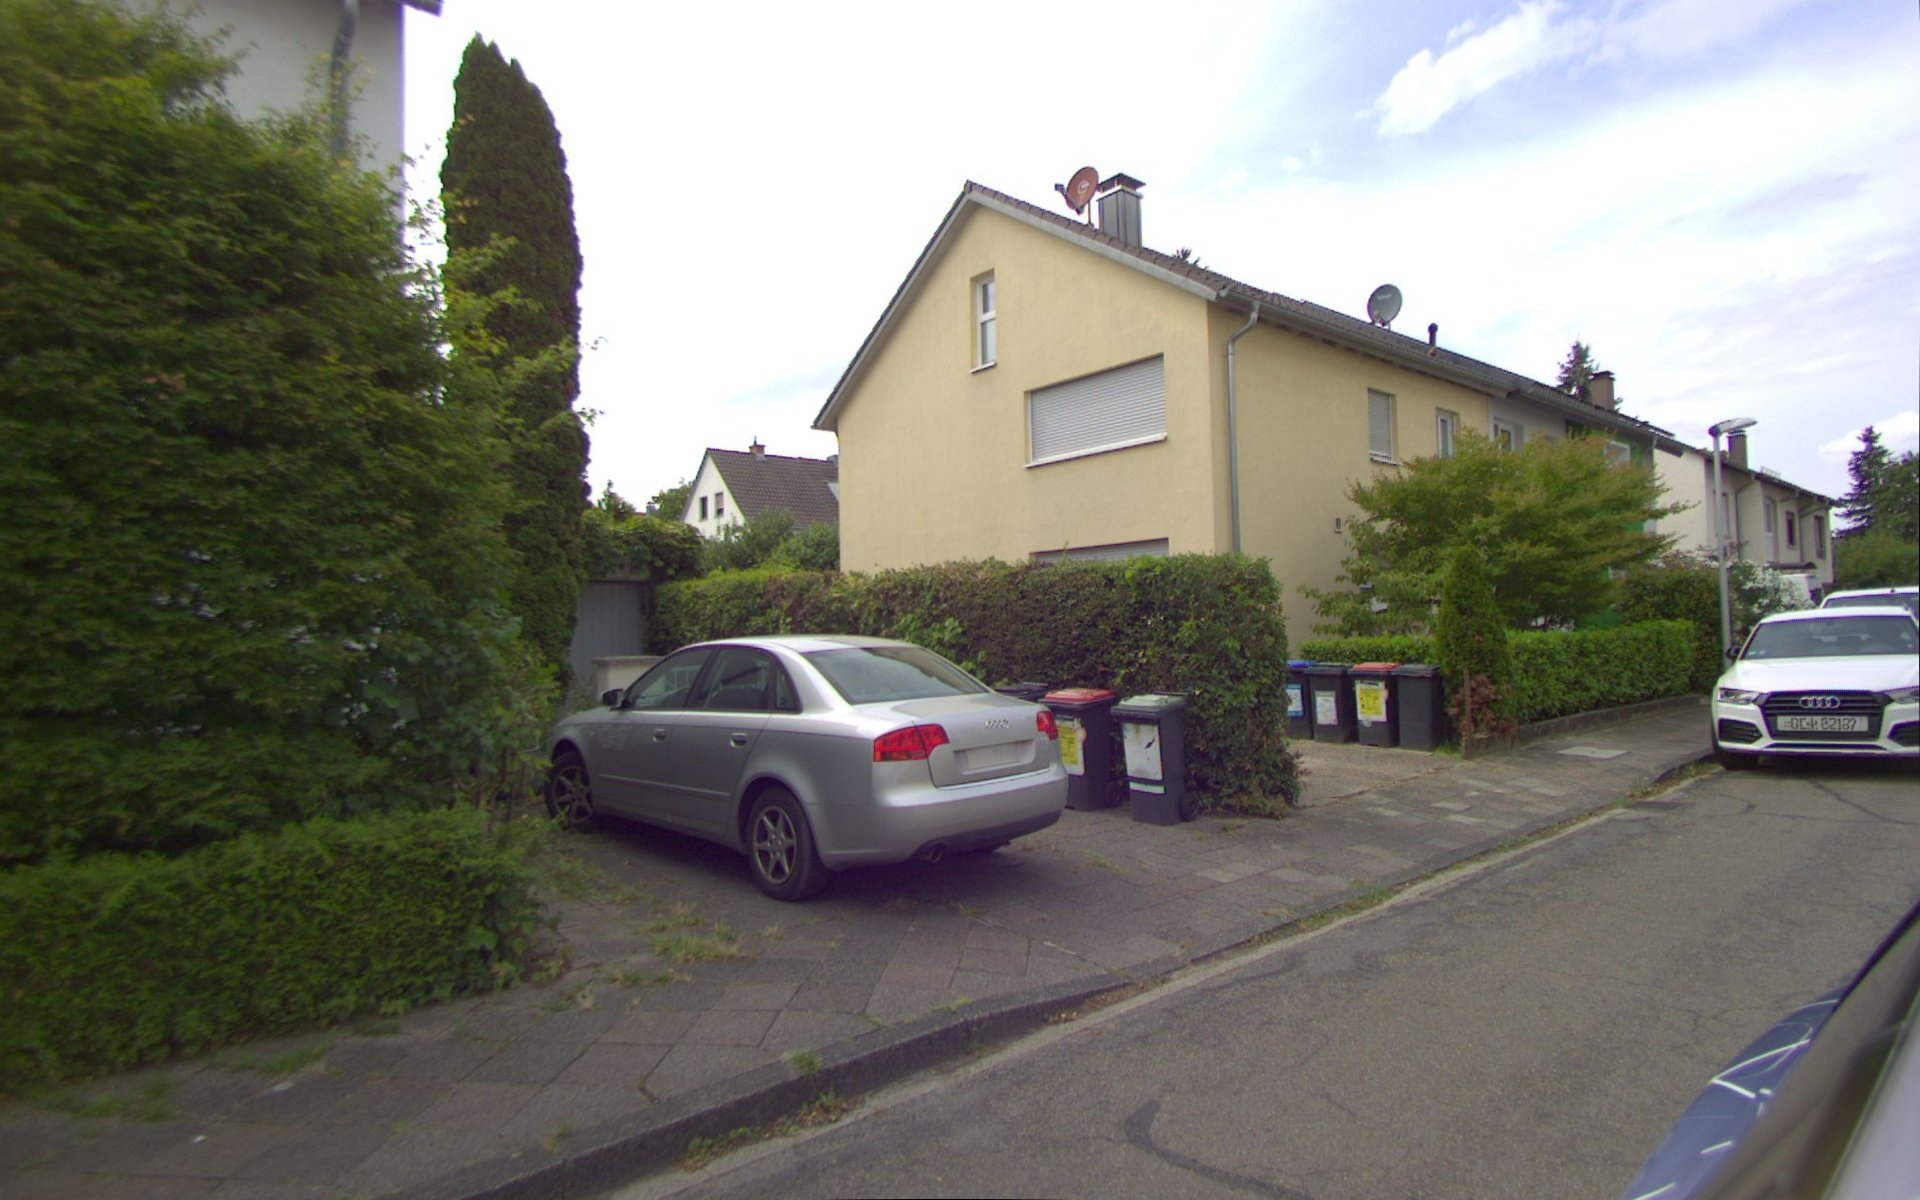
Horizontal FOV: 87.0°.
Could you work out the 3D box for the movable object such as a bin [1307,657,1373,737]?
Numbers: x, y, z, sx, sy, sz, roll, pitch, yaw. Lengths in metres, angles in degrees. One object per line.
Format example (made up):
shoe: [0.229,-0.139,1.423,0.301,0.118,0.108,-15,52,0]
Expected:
movable object such as a bin: [4.415,1.112,11.762,0.519,0.879,0.510,1,-3,-41]

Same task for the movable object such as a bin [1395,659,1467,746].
movable object such as a bin: [5.091,1.095,10.947,0.519,0.879,0.510,1,-3,-41]

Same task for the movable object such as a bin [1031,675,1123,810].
movable object such as a bin: [0.927,1.104,8.027,0.491,0.980,0.510,1,-3,-41]

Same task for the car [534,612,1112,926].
car: [-1.143,0.824,6.863,4.021,1.445,1.824,0,-1,45]

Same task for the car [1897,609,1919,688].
car: [19.705,0.854,19.459,4.375,1.439,1.787,0,-3,-39]

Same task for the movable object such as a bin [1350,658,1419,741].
movable object such as a bin: [4.759,1.101,11.355,0.519,0.879,0.510,1,-3,-41]

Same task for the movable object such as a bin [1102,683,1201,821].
movable object such as a bin: [1.416,1.100,7.493,0.491,0.933,0.510,1,-3,-41]

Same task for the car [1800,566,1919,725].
car: [13.867,0.576,14.504,5.161,1.990,1.906,0,-4,-41]

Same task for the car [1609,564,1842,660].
car: [22.527,0.357,29.981,2.197,2.575,5.098,0,-1,-39]

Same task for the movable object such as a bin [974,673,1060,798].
movable object such as a bin: [0.481,1.121,8.550,0.491,0.980,0.510,1,-3,-41]

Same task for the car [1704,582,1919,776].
car: [9.319,0.714,10.472,4.092,1.657,1.826,0,-4,-43]

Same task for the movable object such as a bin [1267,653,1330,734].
movable object such as a bin: [4.070,1.113,12.179,0.514,0.917,0.510,1,-3,-41]
